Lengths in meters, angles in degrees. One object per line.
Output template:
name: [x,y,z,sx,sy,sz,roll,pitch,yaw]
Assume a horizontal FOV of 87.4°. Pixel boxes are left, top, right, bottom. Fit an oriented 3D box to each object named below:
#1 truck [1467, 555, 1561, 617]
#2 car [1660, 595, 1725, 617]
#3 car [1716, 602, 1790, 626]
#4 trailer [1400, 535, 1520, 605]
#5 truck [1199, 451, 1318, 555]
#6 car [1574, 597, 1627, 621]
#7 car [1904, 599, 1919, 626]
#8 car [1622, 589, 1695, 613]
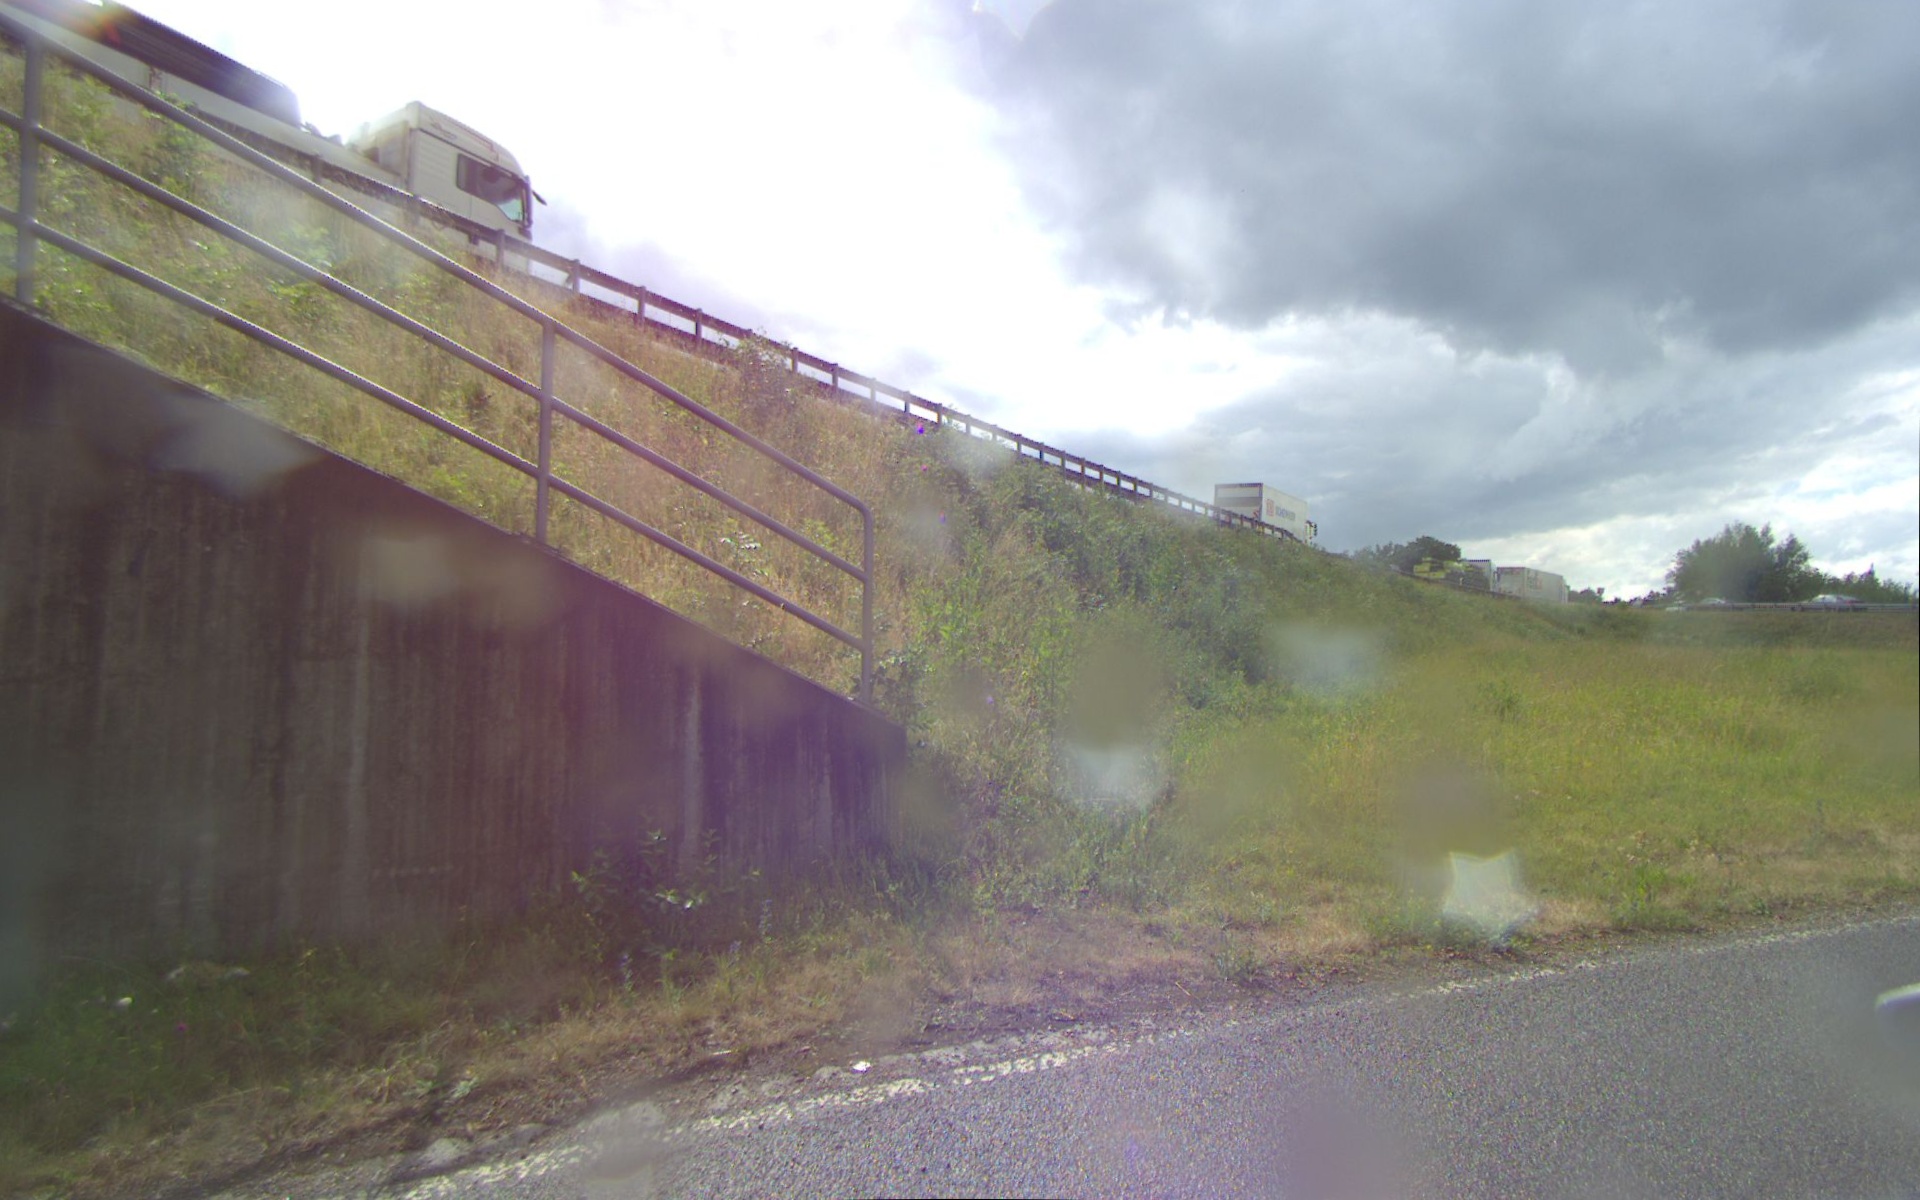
truck: [55.772,-1.155,100.624,4.409,4.561,19.287,0,-4,41]
car: [67.891,0.578,93.228,1.963,1.885,5.053,1,-3,-7]
car: [66.690,1.238,84.540,1.971,1.885,4.487,2,-3,-23]
trailer: [43.147,-2.253,85.891,4.362,4.007,20.124,0,-4,41]
truck: [16.044,-4.921,53.447,3.139,4.017,9.208,1,-3,36]
car: [57.476,0.783,90.157,3.935,2.040,1.821,1,-3,36]
car: [67.940,0.801,68.368,1.967,1.885,5.043,1,-3,-15]
car: [62.021,0.102,89.322,1.975,1.885,5.023,2,-3,-27]
